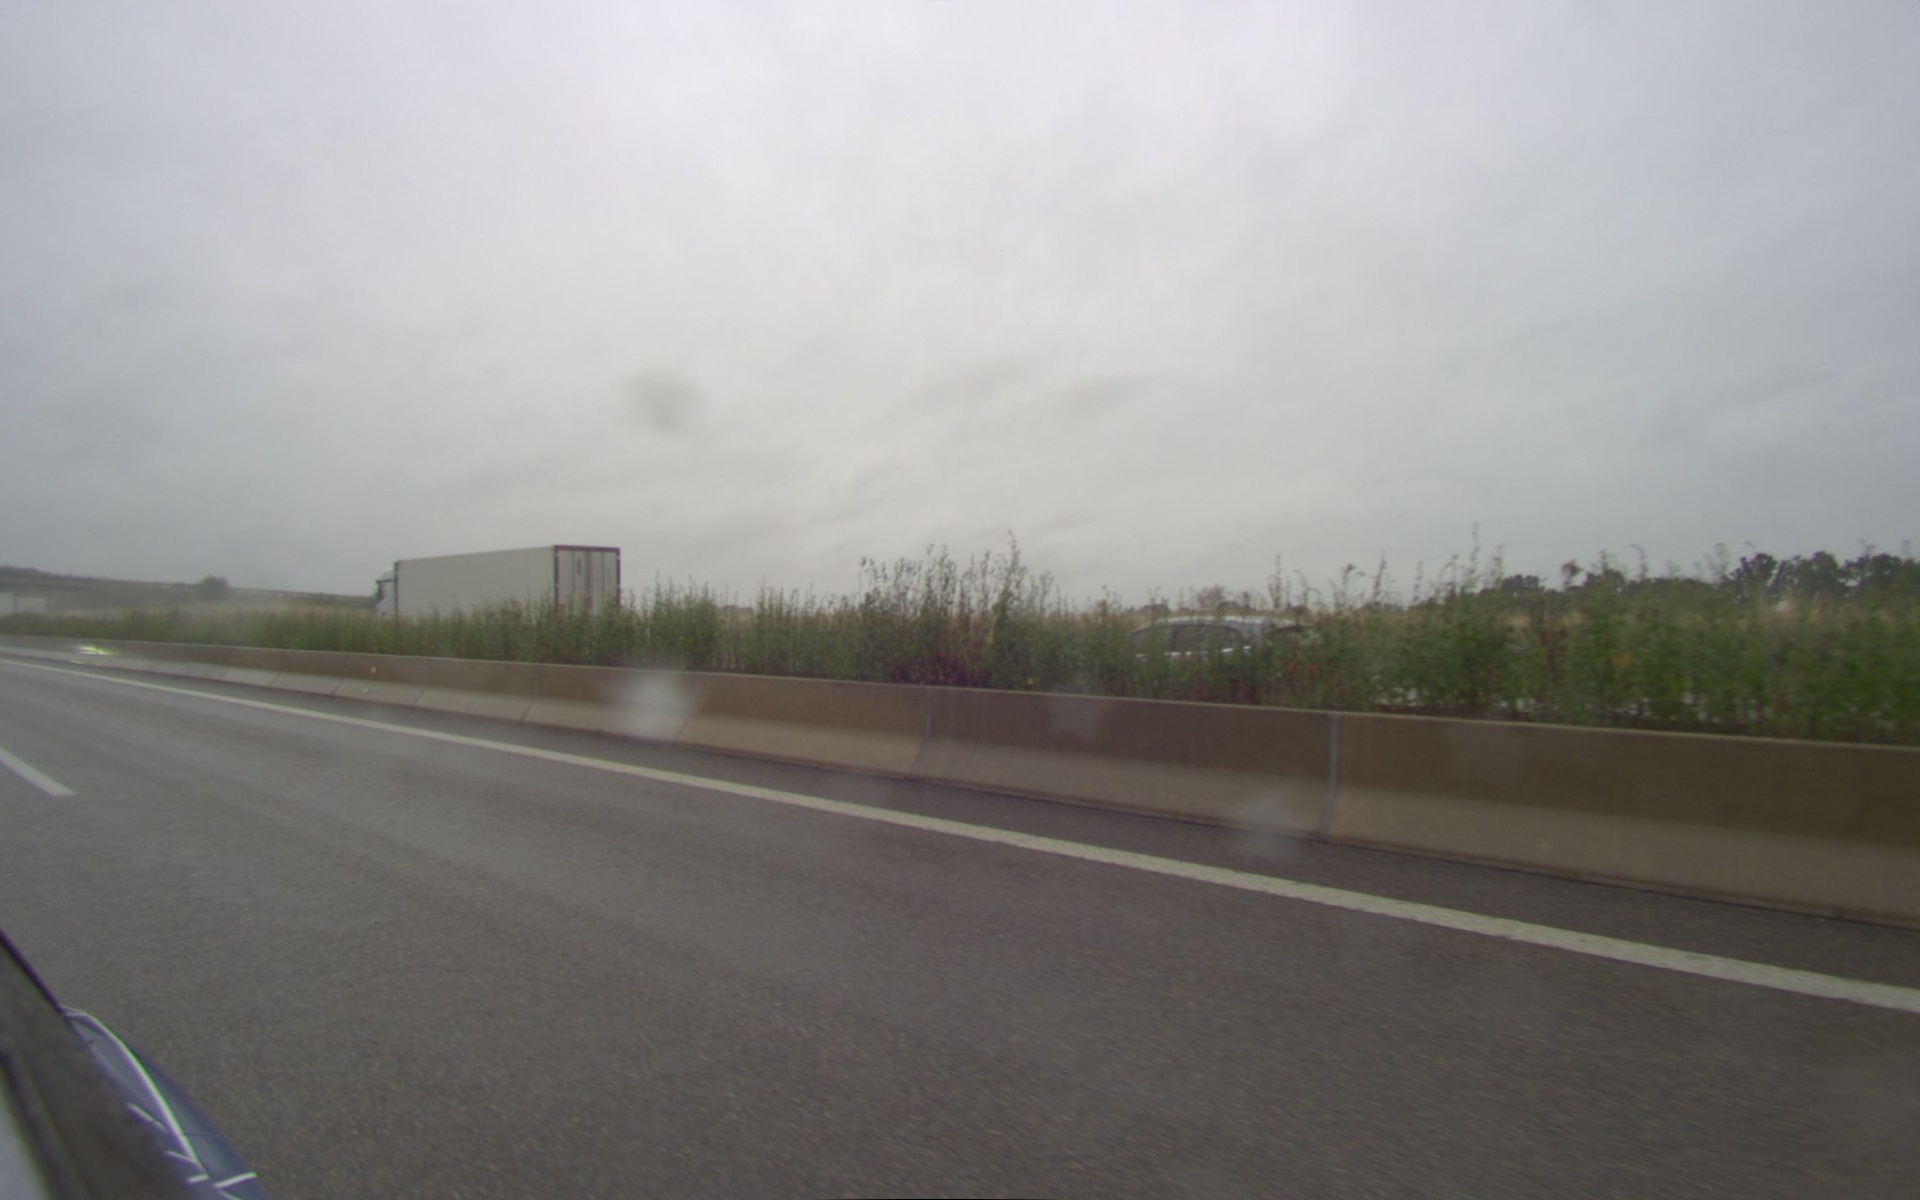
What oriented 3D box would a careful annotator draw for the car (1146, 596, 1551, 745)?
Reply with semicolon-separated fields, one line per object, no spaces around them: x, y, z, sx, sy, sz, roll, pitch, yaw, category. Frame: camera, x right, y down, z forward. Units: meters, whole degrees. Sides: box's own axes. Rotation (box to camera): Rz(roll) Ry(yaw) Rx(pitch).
4.398;0.718;11.771;3.998;1.431;1.873;-1;-1;41;car

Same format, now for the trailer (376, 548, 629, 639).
-19.245;-0.279;41.519;15.708;3.168;2.958;0;0;40;trailer

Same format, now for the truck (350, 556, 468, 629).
-25.473;-0.333;46.743;5.592;3.147;2.963;0;0;40;truck

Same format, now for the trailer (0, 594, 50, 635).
-96.495;1.551;103.544;14.290;4.012;2.915;-1;-1;39;trailer
